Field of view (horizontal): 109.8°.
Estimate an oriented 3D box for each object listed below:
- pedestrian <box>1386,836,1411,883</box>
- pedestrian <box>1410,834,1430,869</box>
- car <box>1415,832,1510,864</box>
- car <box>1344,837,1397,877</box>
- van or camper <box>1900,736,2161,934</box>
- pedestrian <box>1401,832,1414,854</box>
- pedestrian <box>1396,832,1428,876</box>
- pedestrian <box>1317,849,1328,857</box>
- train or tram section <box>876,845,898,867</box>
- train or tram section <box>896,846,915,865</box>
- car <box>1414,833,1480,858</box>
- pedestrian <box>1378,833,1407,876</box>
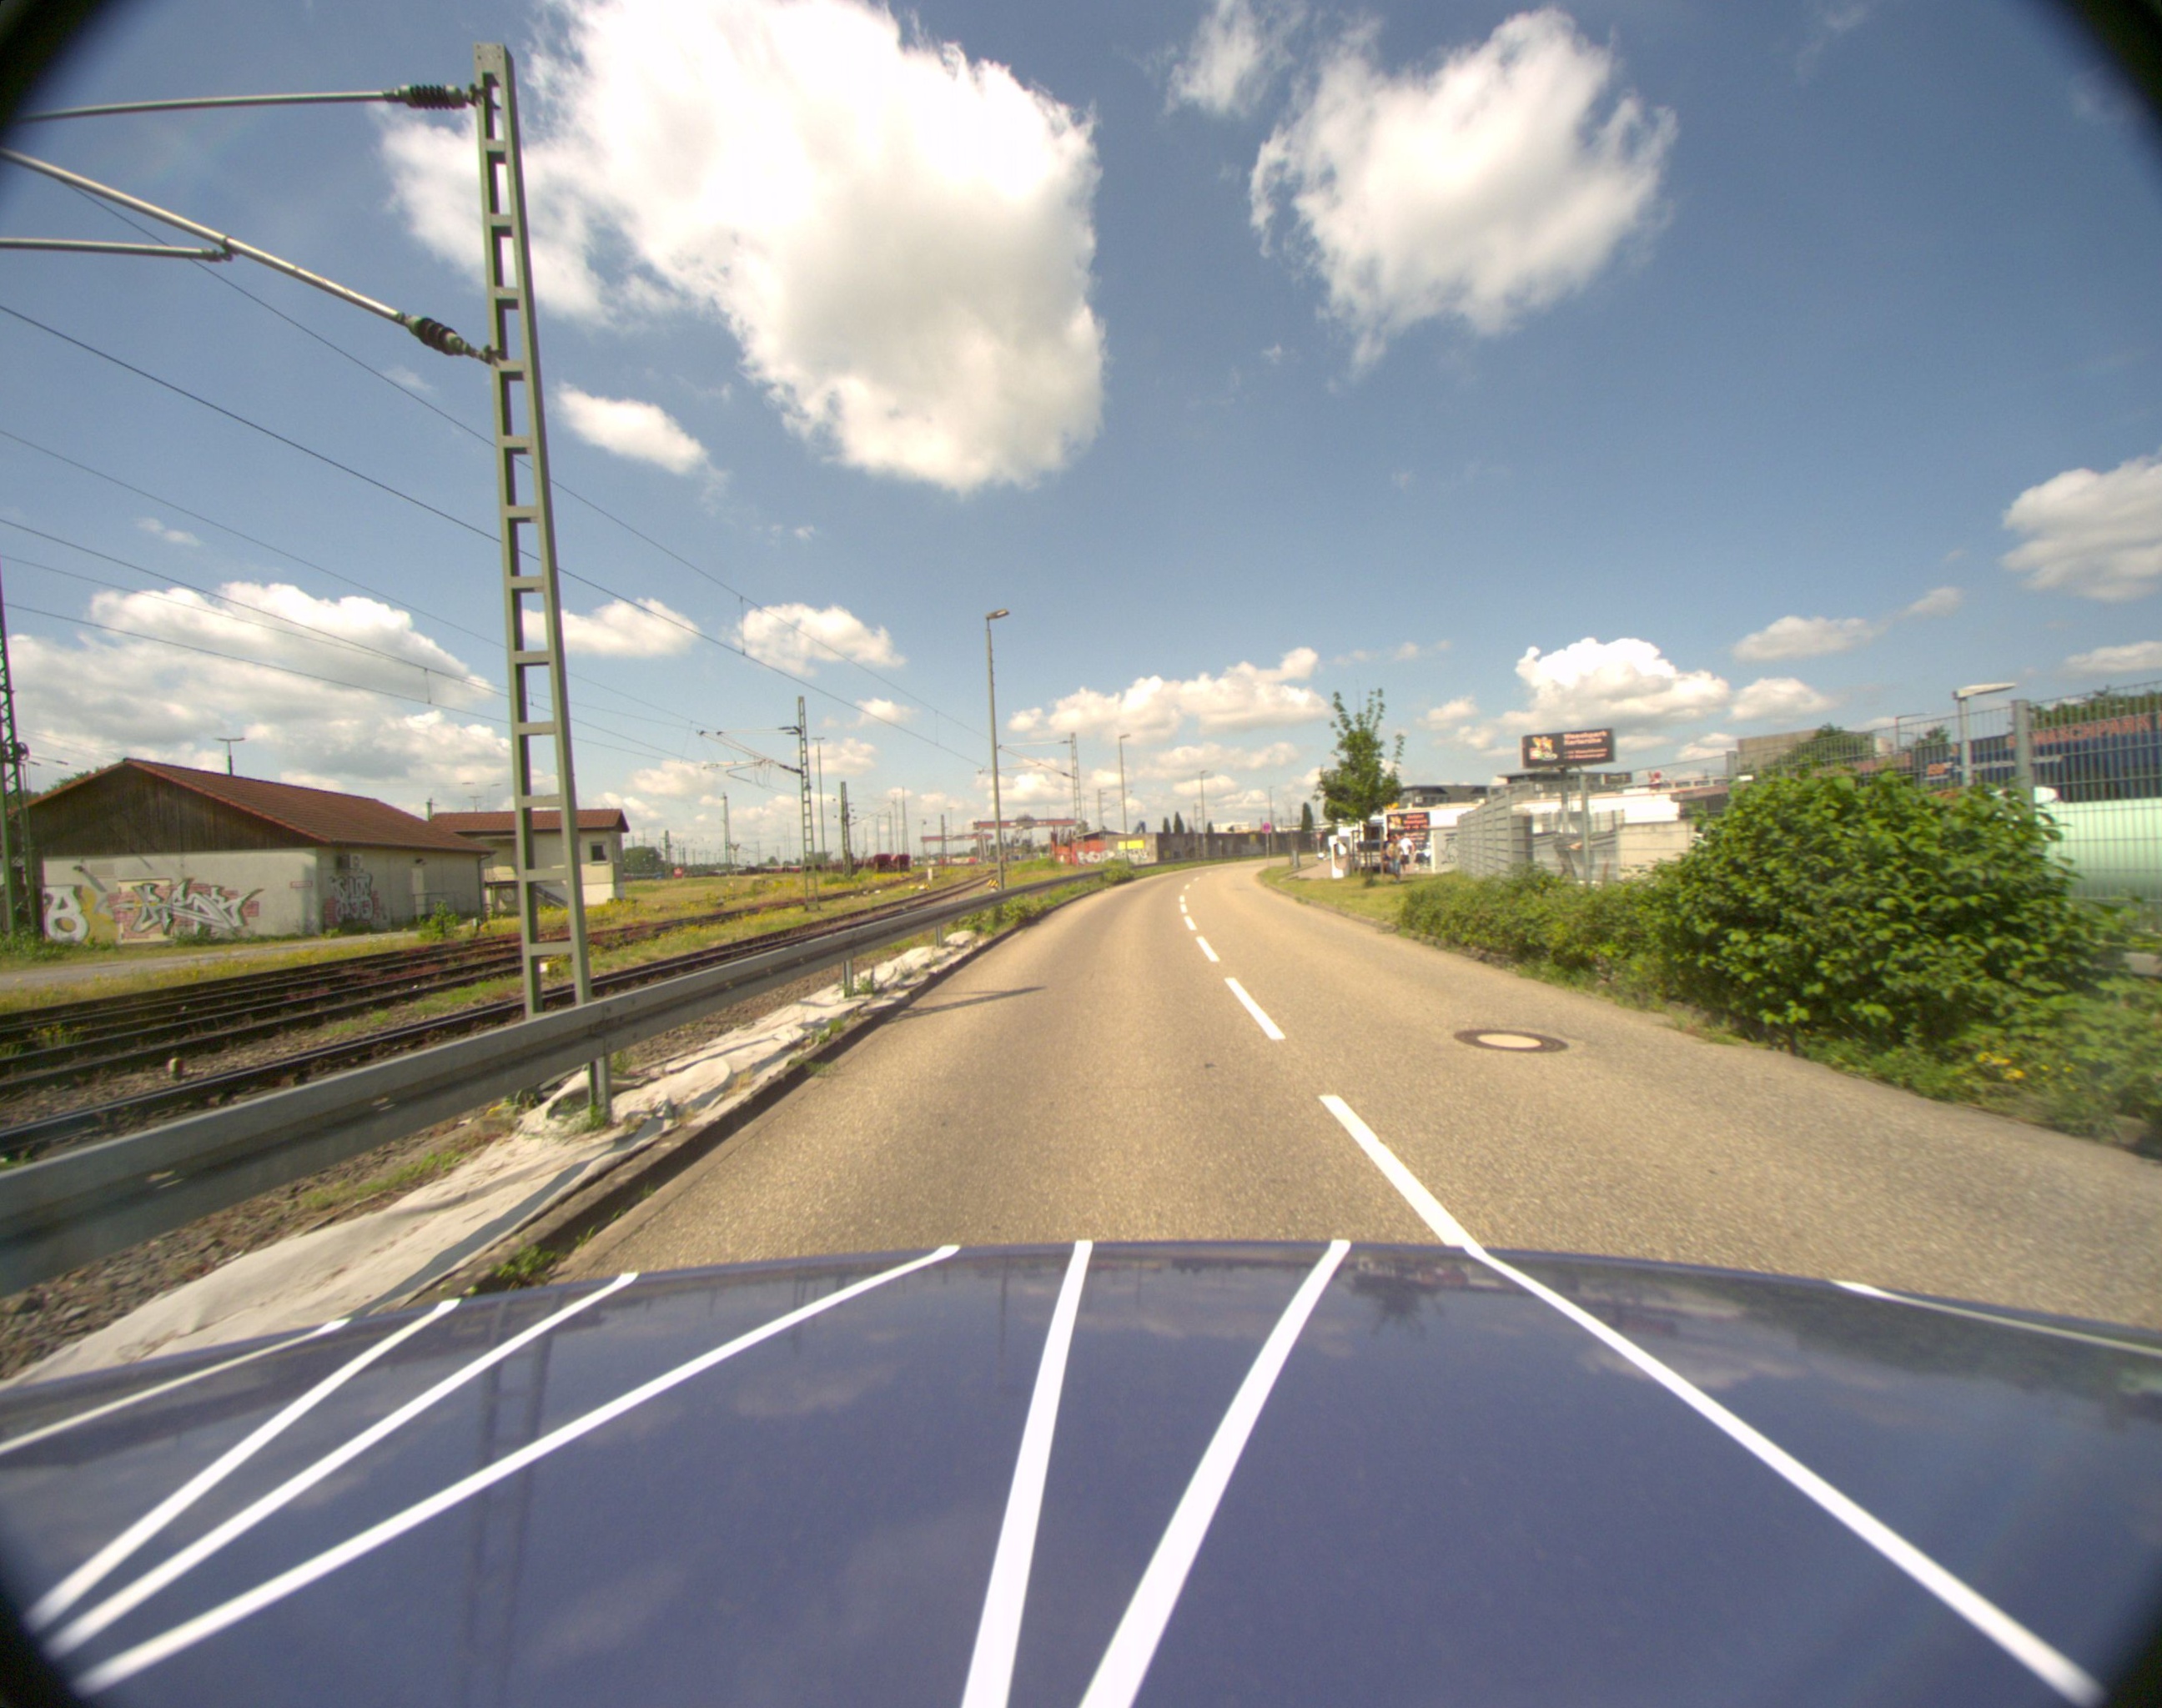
[{"bbox_3d":[10.629,0.175,25.425,0.738,1.533,0.817,-2,1,24],"label":"pedestrian"},{"bbox_3d":[17.734,-0.128,39.714,0.863,1.741,0.728,-3,1,23],"label":"pedestrian"},{"bbox_3d":[21.692,-0.351,43.434,4.557,1.515,2.002,-3,1,18],"label":"car"},{"bbox_3d":[12.532,0.142,32.912,1.933,1.508,4.783,-3,-1,21],"label":"car"},{"bbox_3d":[13.936,-0.317,10.380,1.876,2.204,5.115,-2,1,24],"label":"van or camper"},{"bbox_3d":[31.025,-1.064,72.203,0.938,2.003,0.866,-2,3,28],"label":"pedestrian"},{"bbox_3d":[12.023,0.007,27.610,0.715,1.556,0.757,-4,2,-37],"label":"pedestrian"},{"bbox_3d":[24.872,-0.085,78.256,0.863,0.755,0.819,0,1,29],"label":"pedestrian"},{"bbox_3d":[-35.769,0.506,139.536,3.304,3.695,12.535,-3,0,-16],"label":"train or tram section"},{"bbox_3d":[-37.796,0.406,163.233,3.207,3.695,12.535,-3,0,-16],"label":"train or tram section"},{"bbox_3d":[26.092,-0.585,54.348,3.992,1.510,2.002,-3,1,20],"label":"car"},{"bbox_3d":[11.570,0.025,28.241,0.723,1.570,0.711,-4,2,-42],"label":"pedestrian"}]
